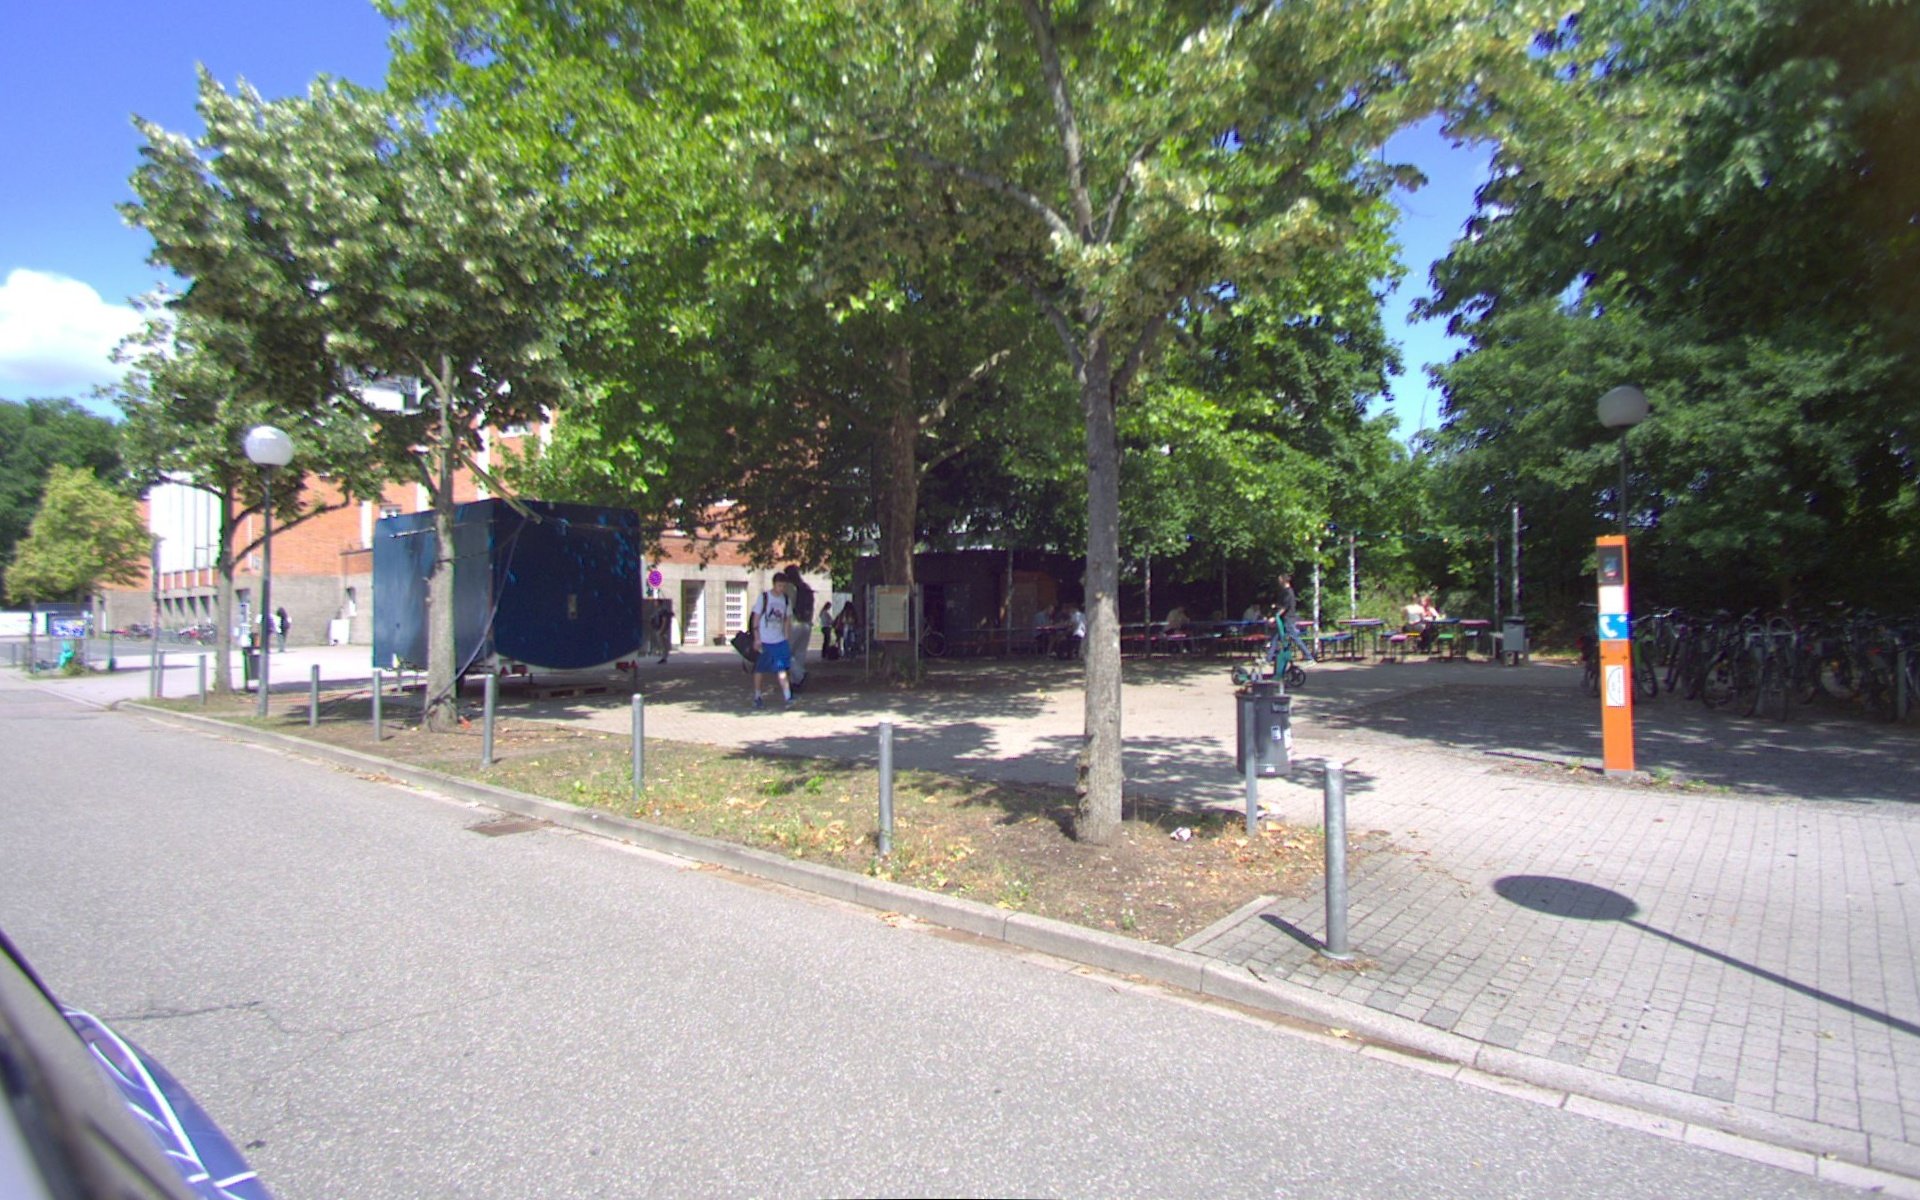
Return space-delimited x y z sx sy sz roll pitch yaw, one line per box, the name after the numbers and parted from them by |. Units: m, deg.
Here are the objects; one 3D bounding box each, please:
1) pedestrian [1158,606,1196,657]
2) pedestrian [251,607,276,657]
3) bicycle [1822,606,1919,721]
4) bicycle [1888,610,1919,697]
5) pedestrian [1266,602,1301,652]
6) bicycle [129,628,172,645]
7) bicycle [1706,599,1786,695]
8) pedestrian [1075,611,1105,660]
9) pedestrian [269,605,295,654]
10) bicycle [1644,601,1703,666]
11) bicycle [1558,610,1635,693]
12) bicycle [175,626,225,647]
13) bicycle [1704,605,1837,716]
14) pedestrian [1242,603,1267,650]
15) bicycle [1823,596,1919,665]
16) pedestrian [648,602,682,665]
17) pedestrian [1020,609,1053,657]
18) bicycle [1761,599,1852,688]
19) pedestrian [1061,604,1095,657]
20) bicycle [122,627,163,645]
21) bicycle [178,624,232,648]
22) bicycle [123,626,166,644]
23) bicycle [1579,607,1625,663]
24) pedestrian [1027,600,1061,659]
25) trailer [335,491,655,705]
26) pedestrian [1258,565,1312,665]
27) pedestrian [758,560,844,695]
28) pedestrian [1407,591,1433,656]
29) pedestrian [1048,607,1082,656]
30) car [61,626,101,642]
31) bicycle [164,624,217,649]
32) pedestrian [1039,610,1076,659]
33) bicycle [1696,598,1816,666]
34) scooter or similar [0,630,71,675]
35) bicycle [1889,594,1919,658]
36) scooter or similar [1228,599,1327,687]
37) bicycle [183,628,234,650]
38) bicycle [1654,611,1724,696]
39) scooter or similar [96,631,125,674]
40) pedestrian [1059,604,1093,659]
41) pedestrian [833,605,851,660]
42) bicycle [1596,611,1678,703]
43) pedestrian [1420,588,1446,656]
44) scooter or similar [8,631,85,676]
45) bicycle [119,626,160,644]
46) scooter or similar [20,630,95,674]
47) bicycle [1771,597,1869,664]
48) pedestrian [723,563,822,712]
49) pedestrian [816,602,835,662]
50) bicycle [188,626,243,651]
5.418 0.785 25.267 0.764 1.260 0.565 -1 0 30 | pedestrian
-25.478 1.159 37.018 0.805 1.775 0.557 -1 -1 40 | pedestrian
9.950 0.633 10.764 0.543 1.097 1.849 -1 0 19 | bicycle
11.977 0.657 12.339 0.535 1.035 1.947 -1 0 30 | bicycle
7.911 0.650 24.727 0.728 1.203 0.388 -1 0 32 | pedestrian
-47.460 2.125 59.359 0.568 0.948 1.931 -1 -1 39 | bicycle
10.166 0.573 13.140 0.535 1.134 1.947 -1 0 30 | bicycle
3.589 0.979 27.875 0.559 1.333 0.638 -2 -2 42 | pedestrian
-25.100 1.093 37.466 0.917 1.793 0.570 -1 -1 40 | pedestrian
12.848 0.575 18.265 0.594 1.099 1.940 0 0 27 | bicycle
8.622 0.666 13.687 0.537 1.022 1.783 -1 0 43 | bicycle
-39.189 1.869 52.211 0.663 1.069 2.001 -1 -1 39 | bicycle
8.854 0.616 11.135 0.543 1.097 1.849 -1 0 19 | bicycle
7.286 0.645 25.041 0.505 1.148 0.333 -1 0 30 | pedestrian
15.701 0.490 17.402 0.592 1.099 1.946 0 0 18 | bicycle
-8.078 0.917 27.682 0.643 1.678 0.623 -1 0 42 | pedestrian
2.087 0.886 27.657 0.693 1.281 0.554 -1 0 42 | pedestrian
10.687 0.513 12.830 0.535 1.035 1.947 -1 0 30 | bicycle
2.861 0.743 24.566 0.734 1.242 0.594 -3 -1 7 | pedestrian
-50.273 2.211 62.251 0.518 1.038 1.931 -1 -1 39 | bicycle
-36.580 1.721 49.043 0.592 1.134 2.000 -1 -1 41 | bicycle
-48.659 2.100 60.412 0.530 1.038 1.931 -1 -1 39 | bicycle
11.818 0.621 18.659 0.544 0.949 1.866 0 0 27 | bicycle
2.030 0.701 24.396 0.734 1.379 0.594 -3 -1 7 | pedestrian
-8.202 0.006 17.497 6.263 3.049 2.668 -1 0 41 | trailer
6.173 0.285 19.240 0.805 1.862 0.524 -1 0 41 | pedestrian
-2.420 0.394 15.402 0.906 1.969 0.894 -3 1 -39 | pedestrian
10.218 0.513 22.483 0.458 1.433 0.501 -1 0 31 | pedestrian
2.810 0.834 27.007 0.693 1.281 0.554 -1 0 42 | pedestrian
-68.100 2.608 78.415 0.524 1.189 2.258 -1 -1 42 | car
-37.428 1.777 49.239 0.439 1.134 1.999 -2 0 44 | bicycle
2.727 0.957 28.408 0.778 1.333 0.680 -1 -1 42 | pedestrian
13.750 0.526 17.560 0.589 1.099 1.957 0 0 2 | bicycle
-26.070 1.462 28.439 1.548 1.234 0.526 0 -1 -22 | scooter or similar
16.724 0.445 17.219 0.592 1.099 1.946 0 0 18 | bicycle
4.797 0.632 15.313 1.241 1.255 0.691 -1 0 41 | scooter or similar
-37.911 1.957 51.087 0.621 1.090 1.989 -1 -1 39 | bicycle
9.660 0.671 13.454 0.535 1.011 1.947 -1 0 30 | bicycle
-24.229 1.485 28.879 0.556 1.158 1.352 0 -1 -37 | scooter or similar
2.745 0.744 23.954 0.734 1.242 0.594 -3 -1 7 | pedestrian
-3.506 0.954 30.146 0.407 1.605 0.606 -2 0 -1 | pedestrian
8.326 0.666 12.415 0.537 1.022 1.783 -1 0 43 | bicycle
10.878 0.494 23.281 0.472 1.534 0.502 -1 0 30 | pedestrian
-26.275 1.518 29.131 1.548 1.234 0.567 0 -1 -22 | scooter or similar
-50.877 2.170 62.781 0.541 1.038 1.931 -1 -1 39 | bicycle
-26.666 1.518 29.927 1.548 1.234 0.572 0 -1 -22 | scooter or similar
14.946 0.500 17.643 0.592 1.099 1.946 0 0 18 | bicycle
-2.434 0.469 13.110 0.986 1.844 0.791 -1 0 41 | pedestrian
-3.920 0.929 29.532 0.441 1.723 0.531 -2 0 -3 | pedestrian
-35.183 1.824 47.863 0.666 1.134 2.001 -1 -1 39 | bicycle
